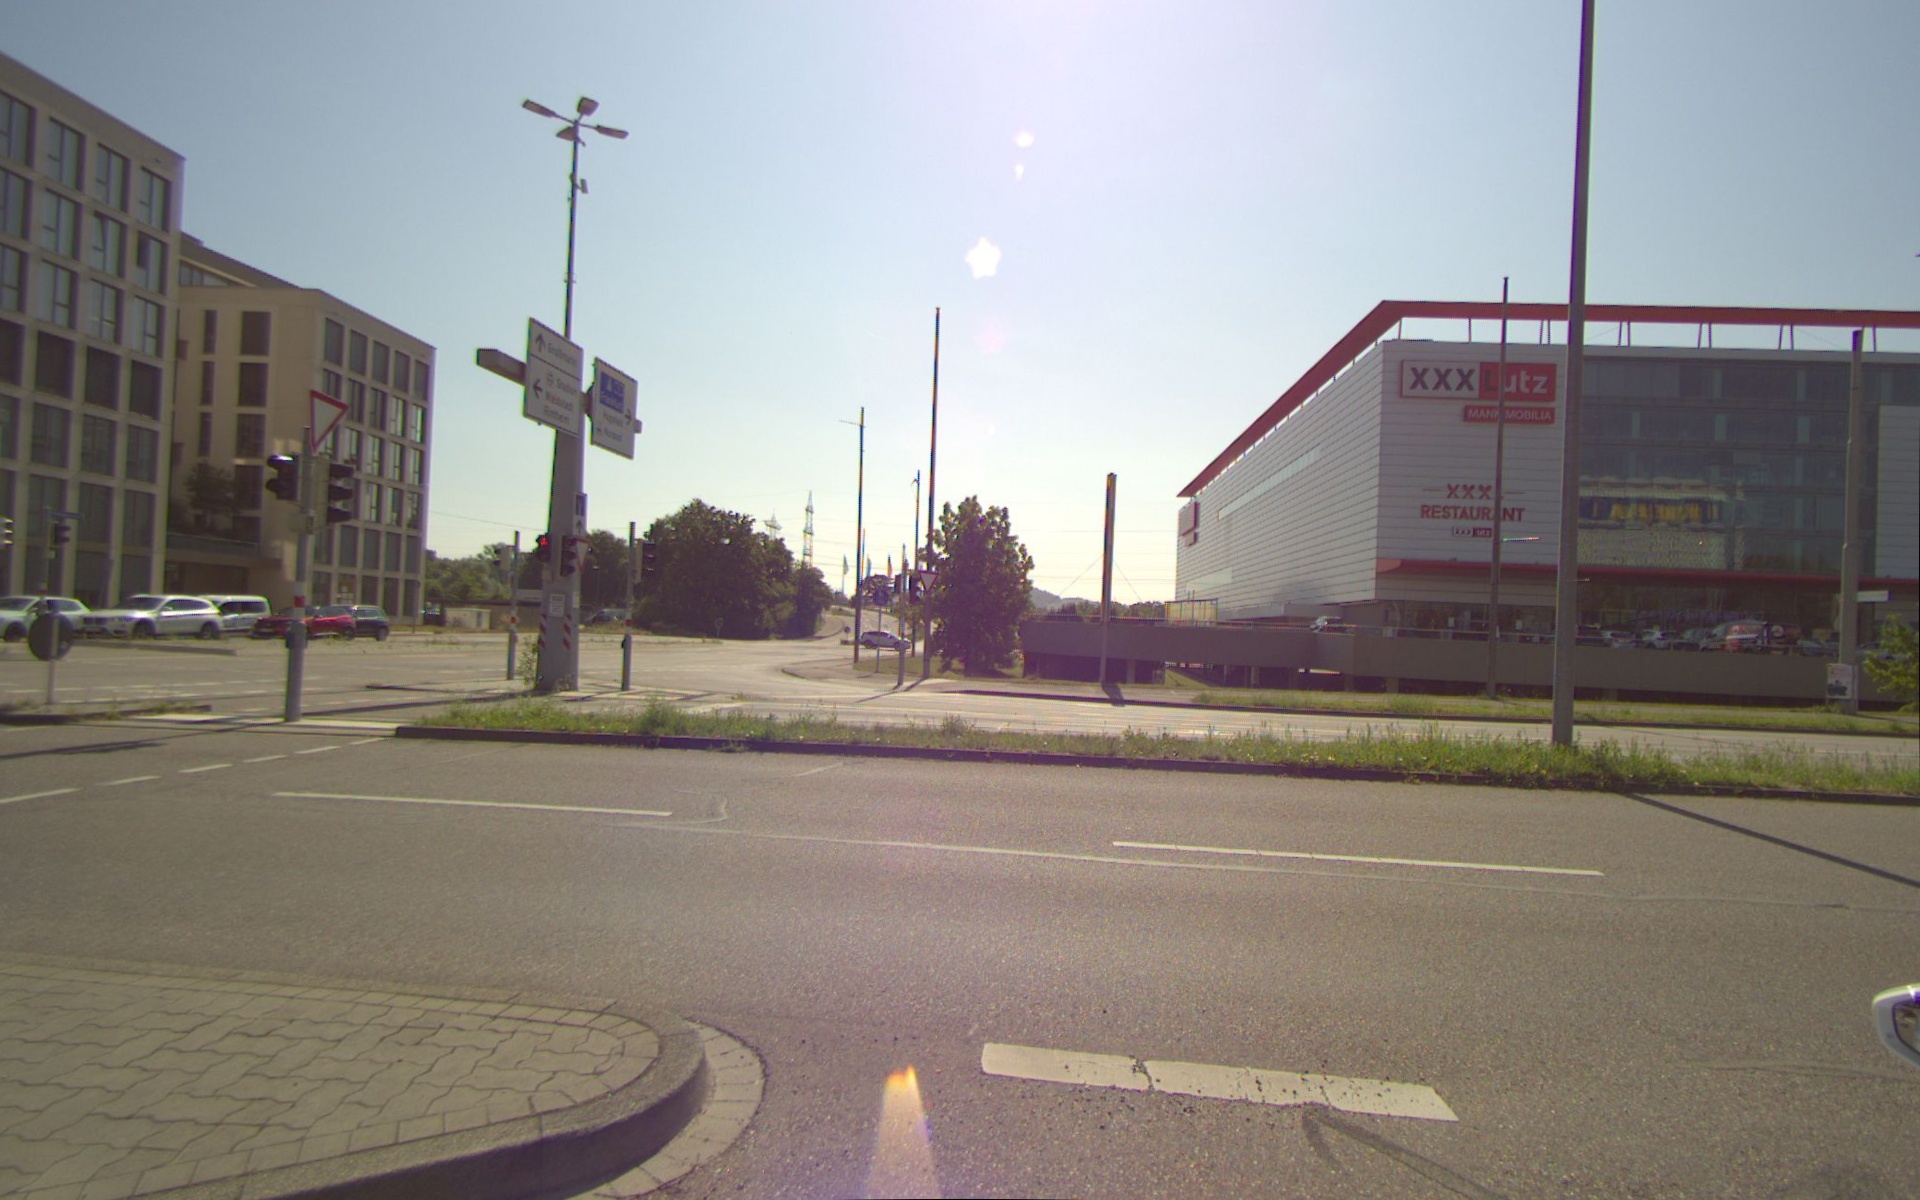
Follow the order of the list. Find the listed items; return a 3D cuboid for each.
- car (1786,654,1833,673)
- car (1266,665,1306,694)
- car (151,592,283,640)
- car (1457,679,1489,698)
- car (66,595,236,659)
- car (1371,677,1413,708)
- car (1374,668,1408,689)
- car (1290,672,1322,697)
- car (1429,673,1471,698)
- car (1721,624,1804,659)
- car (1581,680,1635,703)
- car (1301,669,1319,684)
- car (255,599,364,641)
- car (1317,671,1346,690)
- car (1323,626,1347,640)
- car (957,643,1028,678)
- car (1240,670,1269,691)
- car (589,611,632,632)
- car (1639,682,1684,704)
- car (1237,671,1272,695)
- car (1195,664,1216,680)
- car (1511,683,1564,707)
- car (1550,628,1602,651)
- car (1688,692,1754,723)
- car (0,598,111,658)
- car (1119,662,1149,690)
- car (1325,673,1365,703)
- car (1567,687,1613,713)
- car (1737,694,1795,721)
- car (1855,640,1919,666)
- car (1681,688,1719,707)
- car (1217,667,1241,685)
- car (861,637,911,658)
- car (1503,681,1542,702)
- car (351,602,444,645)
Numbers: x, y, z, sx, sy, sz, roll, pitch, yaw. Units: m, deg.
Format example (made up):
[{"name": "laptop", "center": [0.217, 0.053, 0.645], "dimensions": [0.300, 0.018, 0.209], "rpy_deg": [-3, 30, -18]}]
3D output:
[{"name": "car", "center": [48.129, 3.596, 56.961], "dimensions": [1.050, 0.988, 1.944], "rpy_deg": [2, -2, 1]}, {"name": "car", "center": [12.825, 3.131, 39.614], "dimensions": [1.049, 1.021, 1.944], "rpy_deg": [2, -2, 5]}, {"name": "car", "center": [-28.917, 0.654, 39.266], "dimensions": [1.866, 1.734, 4.233], "rpy_deg": [2, -2, 2]}, {"name": "car", "center": [30.923, 5.325, 60.525], "dimensions": [0.941, 0.988, 1.944], "rpy_deg": [3, -1, 1]}, {"name": "car", "center": [-26.341, 0.891, 32.931], "dimensions": [1.987, 1.862, 4.312], "rpy_deg": [3, -1, 0]}, {"name": "car", "center": [14.806, 3.160, 34.434], "dimensions": [0.776, 0.894, 1.506], "rpy_deg": [3, -1, 1]}, {"name": "car", "center": [23.438, 4.269, 54.673], "dimensions": [1.050, 0.988, 1.944], "rpy_deg": [3, -1, 1]}, {"name": "car", "center": [15.681, 3.831, 45.564], "dimensions": [0.869, 0.988, 1.944], "rpy_deg": [3, -1, 4]}, {"name": "car", "center": [22.791, 3.955, 46.760], "dimensions": [1.050, 0.988, 1.944], "rpy_deg": [3, -1, 1]}, {"name": "car", "center": [37.736, 1.950, 47.304], "dimensions": [1.738, 1.577, 2.777], "rpy_deg": [1, -2, 3]}, {"name": "car", "center": [21.900, 3.097, 33.984], "dimensions": [0.841, 0.629, 1.564], "rpy_deg": [3, -1, 1]}, {"name": "car", "center": [24.500, 5.348, 70.311], "dimensions": [0.741, 0.940, 1.290], "rpy_deg": [3, -1, 1]}, {"name": "car", "center": [-25.716, 0.818, 39.875], "dimensions": [1.500, 1.547, 4.122], "rpy_deg": [2, -2, 2]}, {"name": "car", "center": [23.034, 4.990, 62.351], "dimensions": [1.050, 0.988, 1.944], "rpy_deg": [3, -1, 1]}, {"name": "car", "center": [27.642, 2.420, 74.081], "dimensions": [1.050, 0.988, 1.944], "rpy_deg": [3, -1, 1]}, {"name": "car", "center": [1.928, 3.503, 58.554], "dimensions": [3.919, 1.757, 2.001], "rpy_deg": [3, -1, 5]}, {"name": "car", "center": [16.229, 4.413, 55.322], "dimensions": [1.050, 1.053, 1.944], "rpy_deg": [2, -2, 1]}, {"name": "car", "center": [-44.306, 2.733, 127.195], "dimensions": [4.975, 2.365, 1.990], "rpy_deg": [3, -1, -21]}, {"name": "car", "center": [37.518, 4.961, 53.739], "dimensions": [1.050, 0.988, 1.944], "rpy_deg": [3, -1, 1]}, {"name": "car", "center": [13.419, 3.768, 45.811], "dimensions": [1.050, 0.988, 1.944], "rpy_deg": [2, -2, 3]}, {"name": "car", "center": [17.400, 5.092, 71.171], "dimensions": [1.050, 0.988, 1.944], "rpy_deg": [3, -1, 1]}, {"name": "car", "center": [22.254, 3.662, 38.760], "dimensions": [0.889, 0.743, 2.088], "rpy_deg": [3, -1, 1]}, {"name": "car", "center": [38.902, 2.489, 63.529], "dimensions": [1.485, 1.347, 3.022], "rpy_deg": [3, -1, 3]}, {"name": "car", "center": [29.068, 4.098, 38.392], "dimensions": [1.050, 0.988, 1.944], "rpy_deg": [3, -1, 1]}, {"name": "car", "center": [-29.331, 0.854, 31.719], "dimensions": [1.799, 1.735, 3.766], "rpy_deg": [3, -1, -1]}, {"name": "car", "center": [6.908, 2.997, 39.988], "dimensions": [0.872, 0.988, 1.944], "rpy_deg": [2, -1, 1]}, {"name": "car", "center": [15.063, 3.434, 39.355], "dimensions": [0.849, 0.988, 1.849], "rpy_deg": [3, -1, 1]}, {"name": "car", "center": [29.153, 4.627, 46.497], "dimensions": [0.892, 0.988, 1.944], "rpy_deg": [3, -1, 1]}, {"name": "car", "center": [36.654, 4.886, 45.715], "dimensions": [1.050, 0.988, 1.944], "rpy_deg": [3, -1, 1]}, {"name": "car", "center": [53.085, 3.000, 57.165], "dimensions": [1.485, 1.347, 3.226], "rpy_deg": [3, -1, 3]}, {"name": "car", "center": [44.984, 5.937, 61.066], "dimensions": [0.903, 0.988, 1.944], "rpy_deg": [3, -1, 1]}, {"name": "car", "center": [16.852, 4.734, 63.013], "dimensions": [0.912, 0.988, 1.943], "rpy_deg": [3, -1, -2]}, {"name": "car", "center": [-6.471, 4.175, 88.428], "dimensions": [3.919, 1.643, 2.023], "rpy_deg": [1, -2, 15]}, {"name": "car", "center": [30.442, 4.934, 54.393], "dimensions": [1.050, 0.988, 1.944], "rpy_deg": [3, -1, 1]}, {"name": "car", "center": [-27.338, 1.165, 49.008], "dimensions": [1.798, 1.914, 4.246], "rpy_deg": [3, -1, 5]}]
